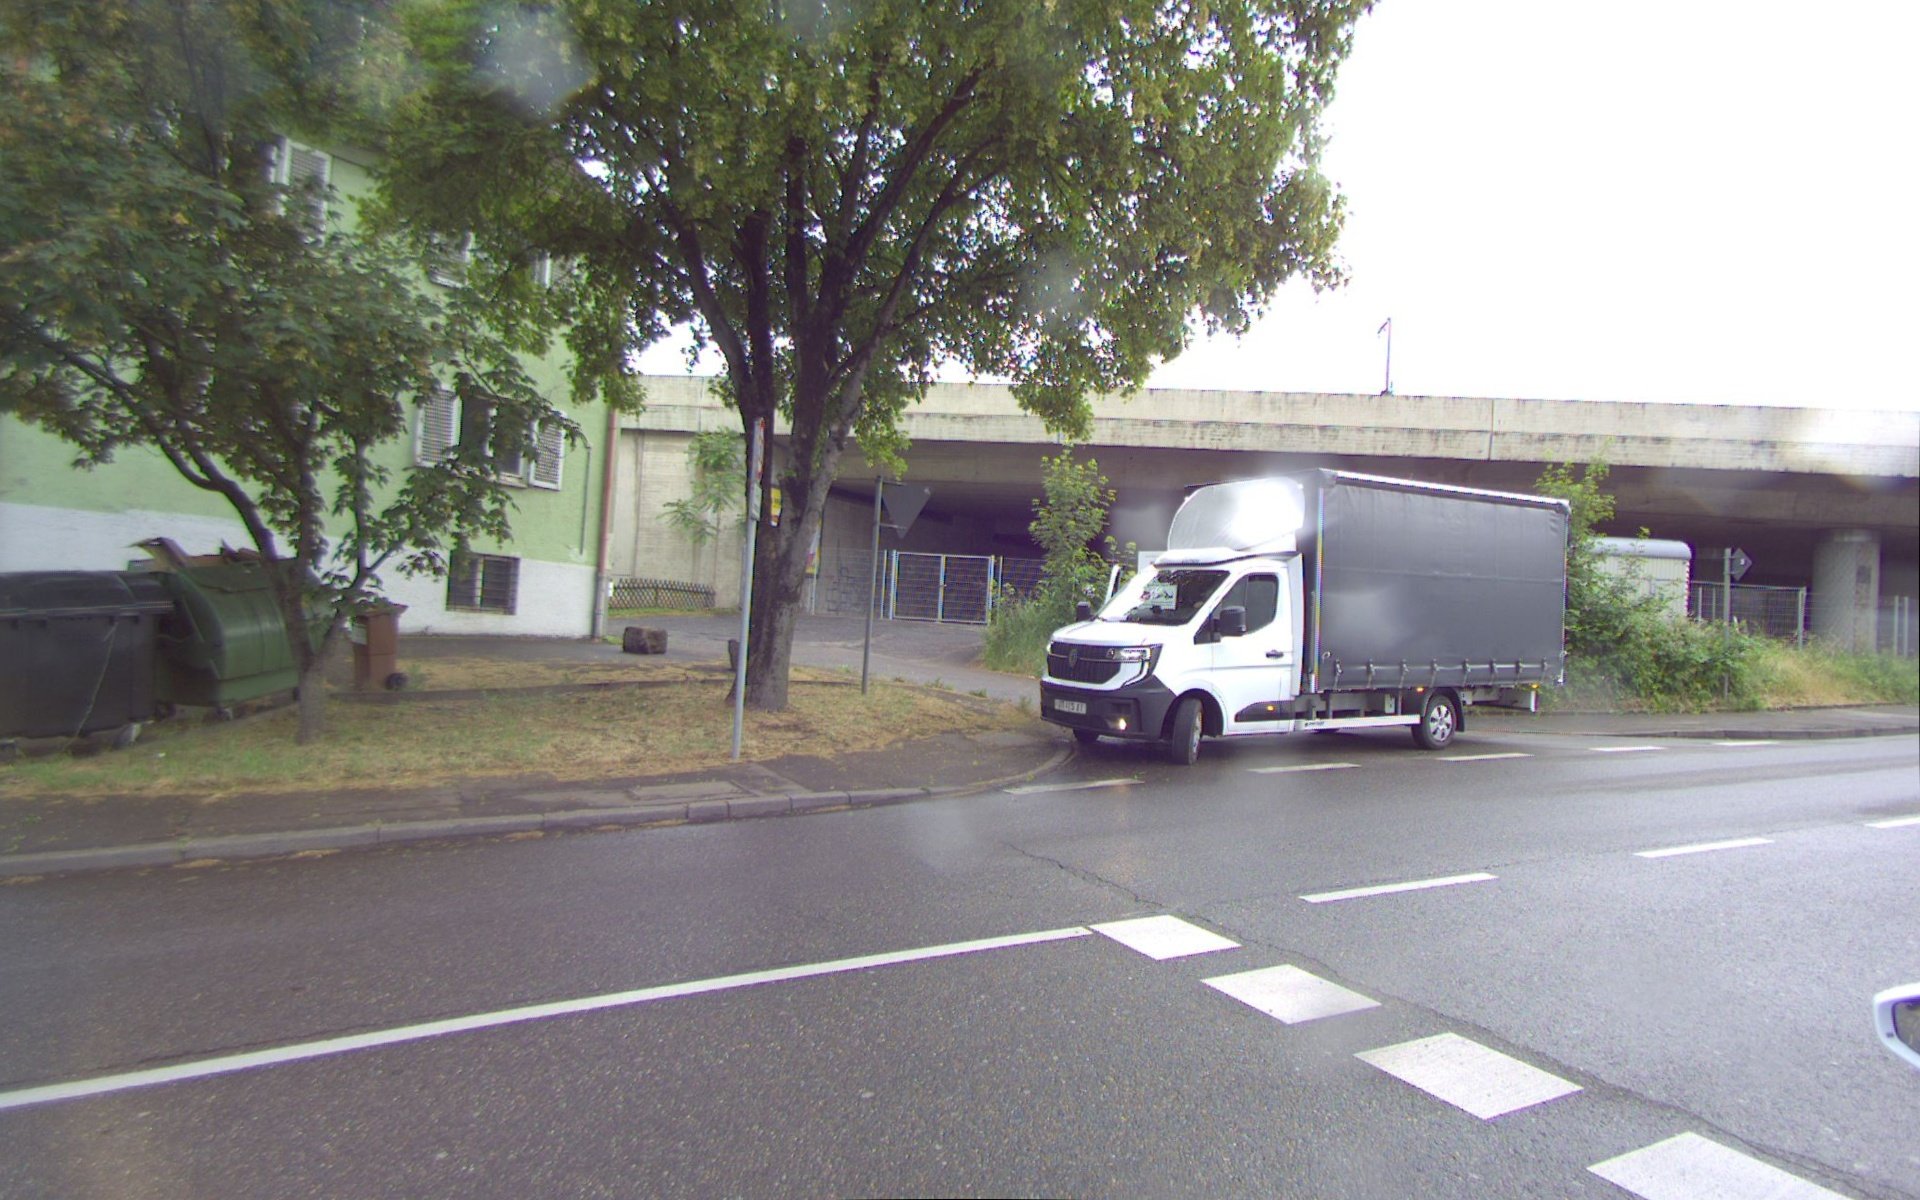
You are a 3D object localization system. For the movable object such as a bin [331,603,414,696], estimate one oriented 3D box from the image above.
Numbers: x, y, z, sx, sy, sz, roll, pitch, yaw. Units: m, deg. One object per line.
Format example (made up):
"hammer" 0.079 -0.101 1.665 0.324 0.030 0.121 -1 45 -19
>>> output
"movable object such as a bin" -6.362 0.531 10.901 0.715 0.970 0.554 3 -1 -30

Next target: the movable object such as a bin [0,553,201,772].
"movable object such as a bin" -7.304 0.417 8.055 1.268 1.457 1.463 5 5 13

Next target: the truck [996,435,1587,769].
"truck" 4.453 0.176 12.855 7.681 3.279 2.599 3 -1 -29

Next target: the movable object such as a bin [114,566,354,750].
"movable object such as a bin" -6.737 0.470 9.419 1.078 1.457 1.463 5 5 13
